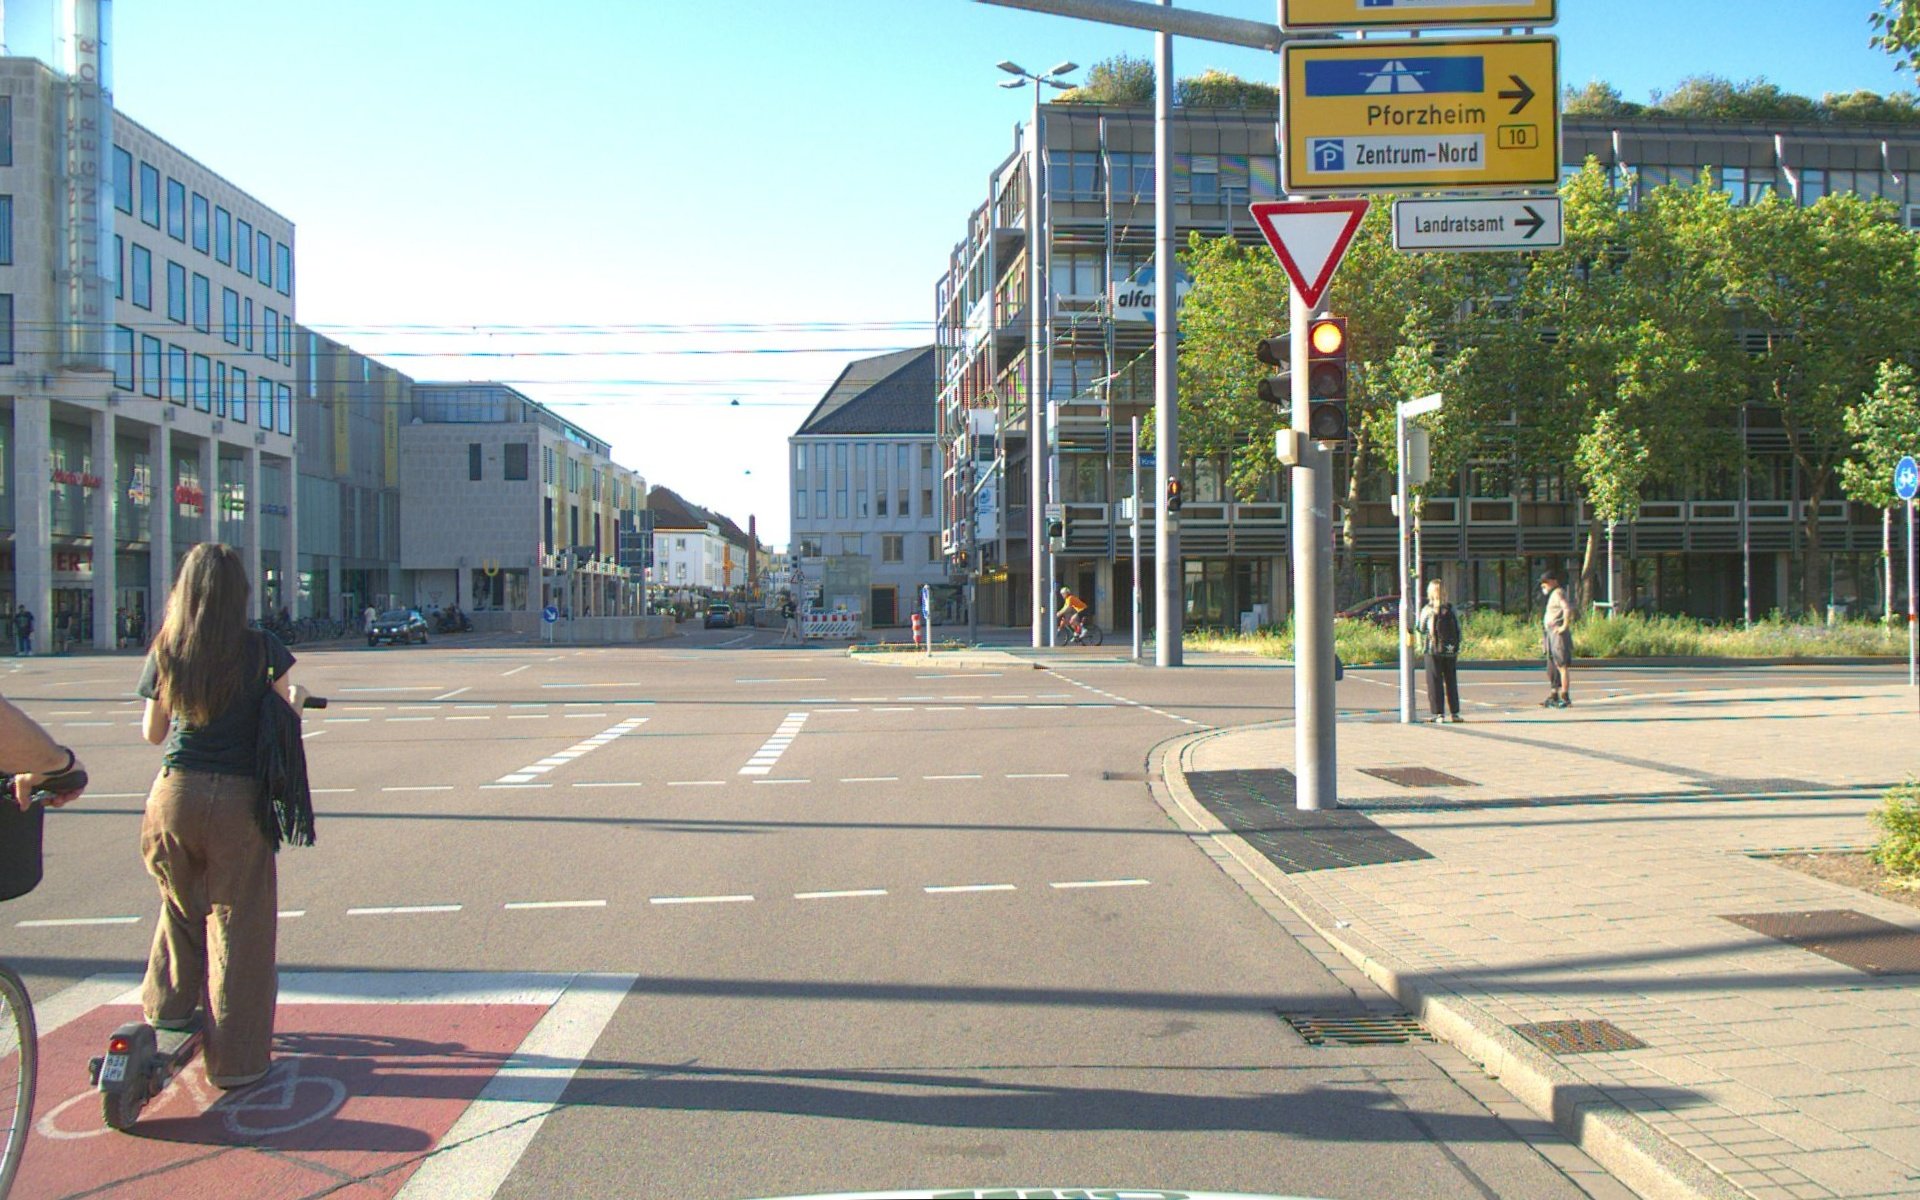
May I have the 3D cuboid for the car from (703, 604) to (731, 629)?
[{"bbox_3d":[-15.828,1.056,107.949,1.705,1.558,3.849,1,0,-8],"label":"car"}]

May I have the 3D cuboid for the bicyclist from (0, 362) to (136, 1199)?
[{"bbox_3d":[-1.977,0.463,2.856,0.647,1.750,0.865,1,-1,-1],"label":"bicyclist"}]

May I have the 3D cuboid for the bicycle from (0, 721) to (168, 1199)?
[{"bbox_3d":[-2.081,0.868,2.931,0.475,1.176,1.831,1,0,-1],"label":"bicycle"}]

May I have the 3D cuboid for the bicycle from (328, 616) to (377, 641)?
[{"bbox_3d":[-30.929,1.467,84.270,2.260,1.244,0.611,0,0,-3],"label":"bicycle"}]

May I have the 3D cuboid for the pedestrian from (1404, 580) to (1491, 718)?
[{"bbox_3d":[5.516,0.549,18.753,0.772,1.518,0.644,1,-1,-1],"label":"pedestrian"}]

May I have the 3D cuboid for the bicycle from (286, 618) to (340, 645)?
[{"bbox_3d":[-30.066,1.450,76.851,2.260,1.244,0.611,0,0,-3],"label":"bicycle"}]

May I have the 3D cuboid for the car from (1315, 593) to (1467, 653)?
[{"bbox_3d":[12.081,0.625,46.470,3.812,1.613,1.656,-1,0,-8],"label":"car"}]

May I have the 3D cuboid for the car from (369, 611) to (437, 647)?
[{"bbox_3d":[-23.379,1.207,69.487,1.597,1.365,3.998,-3,0,-3],"label":"car"}]

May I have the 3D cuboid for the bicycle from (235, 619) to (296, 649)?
[{"bbox_3d":[-29.128,1.434,69.405,2.260,1.244,0.611,0,0,-3],"label":"bicycle"}]

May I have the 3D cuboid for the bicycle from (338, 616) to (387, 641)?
[{"bbox_3d":[-30.817,1.473,85.341,2.260,1.244,0.611,0,0,-3],"label":"bicycle"}]

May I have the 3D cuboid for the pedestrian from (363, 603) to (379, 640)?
[{"bbox_3d":[-28.332,1.046,79.554,0.639,1.749,0.447,0,0,-25],"label":"pedestrian"}]

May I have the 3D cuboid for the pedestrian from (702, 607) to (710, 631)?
[{"bbox_3d":[-17.920,1.358,116.872,0.511,1.709,0.582,1,0,-8],"label":"pedestrian"}]

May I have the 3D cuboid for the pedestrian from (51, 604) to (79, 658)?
[{"bbox_3d":[-31.172,1.071,57.606,0.788,1.876,0.854,0,0,-33],"label":"pedestrian"}]

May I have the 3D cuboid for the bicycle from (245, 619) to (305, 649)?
[{"bbox_3d":[-29.292,1.437,70.759,2.260,1.244,0.611,0,0,-3],"label":"bicycle"}]

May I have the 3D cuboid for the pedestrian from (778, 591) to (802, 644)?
[{"bbox_3d":[-6.228,0.643,60.749,0.628,1.923,0.791,1,-1,14],"label":"pedestrian"}]

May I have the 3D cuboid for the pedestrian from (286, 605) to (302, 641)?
[{"bbox_3d":[-32.241,1.098,80.072,0.544,1.709,0.606,1,0,-11],"label":"pedestrian"}]

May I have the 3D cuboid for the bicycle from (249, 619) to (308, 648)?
[{"bbox_3d":[-29.505,1.437,71.636,2.260,1.244,0.611,0,0,-3],"label":"bicycle"}]

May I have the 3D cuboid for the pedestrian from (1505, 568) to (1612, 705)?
[{"bbox_3d":[7.661,0.461,21.202,0.866,1.694,0.958,1,-1,-22],"label":"pedestrian"}]

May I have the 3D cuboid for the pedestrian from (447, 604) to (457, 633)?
[{"bbox_3d":[-30.101,1.073,98.081,0.512,1.709,0.581,1,0,-14],"label":"pedestrian"}]

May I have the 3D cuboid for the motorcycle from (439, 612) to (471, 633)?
[{"bbox_3d":[-29.763,1.327,97.478,1.775,1.228,0.509,1,0,-16],"label":"motorcycle"}]

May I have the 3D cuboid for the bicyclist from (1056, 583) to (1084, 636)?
[{"bbox_3d":[3.092,0.262,46.496,0.698,1.462,0.496,1,-1,-10],"label":"bicyclist"}]

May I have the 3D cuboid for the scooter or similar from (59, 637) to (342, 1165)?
[{"bbox_3d":[-2.177,0.784,4.864,0.538,1.316,1.189,1,0,-15],"label":"scooter or similar"}]

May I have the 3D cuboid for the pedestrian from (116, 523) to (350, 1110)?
[{"bbox_3d":[-2.187,0.616,5.031,0.540,1.661,0.569,1,-1,-16],"label":"pedestrian"}]

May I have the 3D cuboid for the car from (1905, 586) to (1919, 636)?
[{"bbox_3d":[32.961,0.402,53.627,3.825,1.613,1.656,1,0,-8],"label":"car"}]

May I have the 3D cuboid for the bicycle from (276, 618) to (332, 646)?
[{"bbox_3d":[-29.606,1.448,74.700,2.260,1.244,0.611,0,0,-3],"label":"bicycle"}]

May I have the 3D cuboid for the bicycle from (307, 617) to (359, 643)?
[{"bbox_3d":[-30.336,1.459,80.054,2.260,1.244,0.611,0,0,-3],"label":"bicycle"}]

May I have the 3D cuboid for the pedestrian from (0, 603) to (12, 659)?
[{"bbox_3d":[-33.052,1.072,56.888,0.706,1.918,0.780,1,-1,-28],"label":"pedestrian"}]

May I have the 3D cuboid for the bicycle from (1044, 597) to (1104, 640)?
[{"bbox_3d":[3.201,0.521,46.513,1.615,1.175,0.496,1,-1,-10],"label":"bicycle"}]

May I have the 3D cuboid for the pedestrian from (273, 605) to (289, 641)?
[{"bbox_3d":[-32.829,1.109,79.963,0.560,1.709,0.614,1,0,-10],"label":"pedestrian"}]

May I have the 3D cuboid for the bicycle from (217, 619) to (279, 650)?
[{"bbox_3d":[-29.335,1.425,68.119,2.260,1.244,0.611,0,0,-3],"label":"bicycle"}]

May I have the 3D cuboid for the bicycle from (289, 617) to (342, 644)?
[{"bbox_3d":[-30.716,1.447,78.821,2.260,1.244,0.611,0,0,-3],"label":"bicycle"}]

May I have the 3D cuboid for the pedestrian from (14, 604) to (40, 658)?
[{"bbox_3d":[-32.863,1.079,58.265,0.787,1.876,0.856,0,0,-29],"label":"pedestrian"}]
